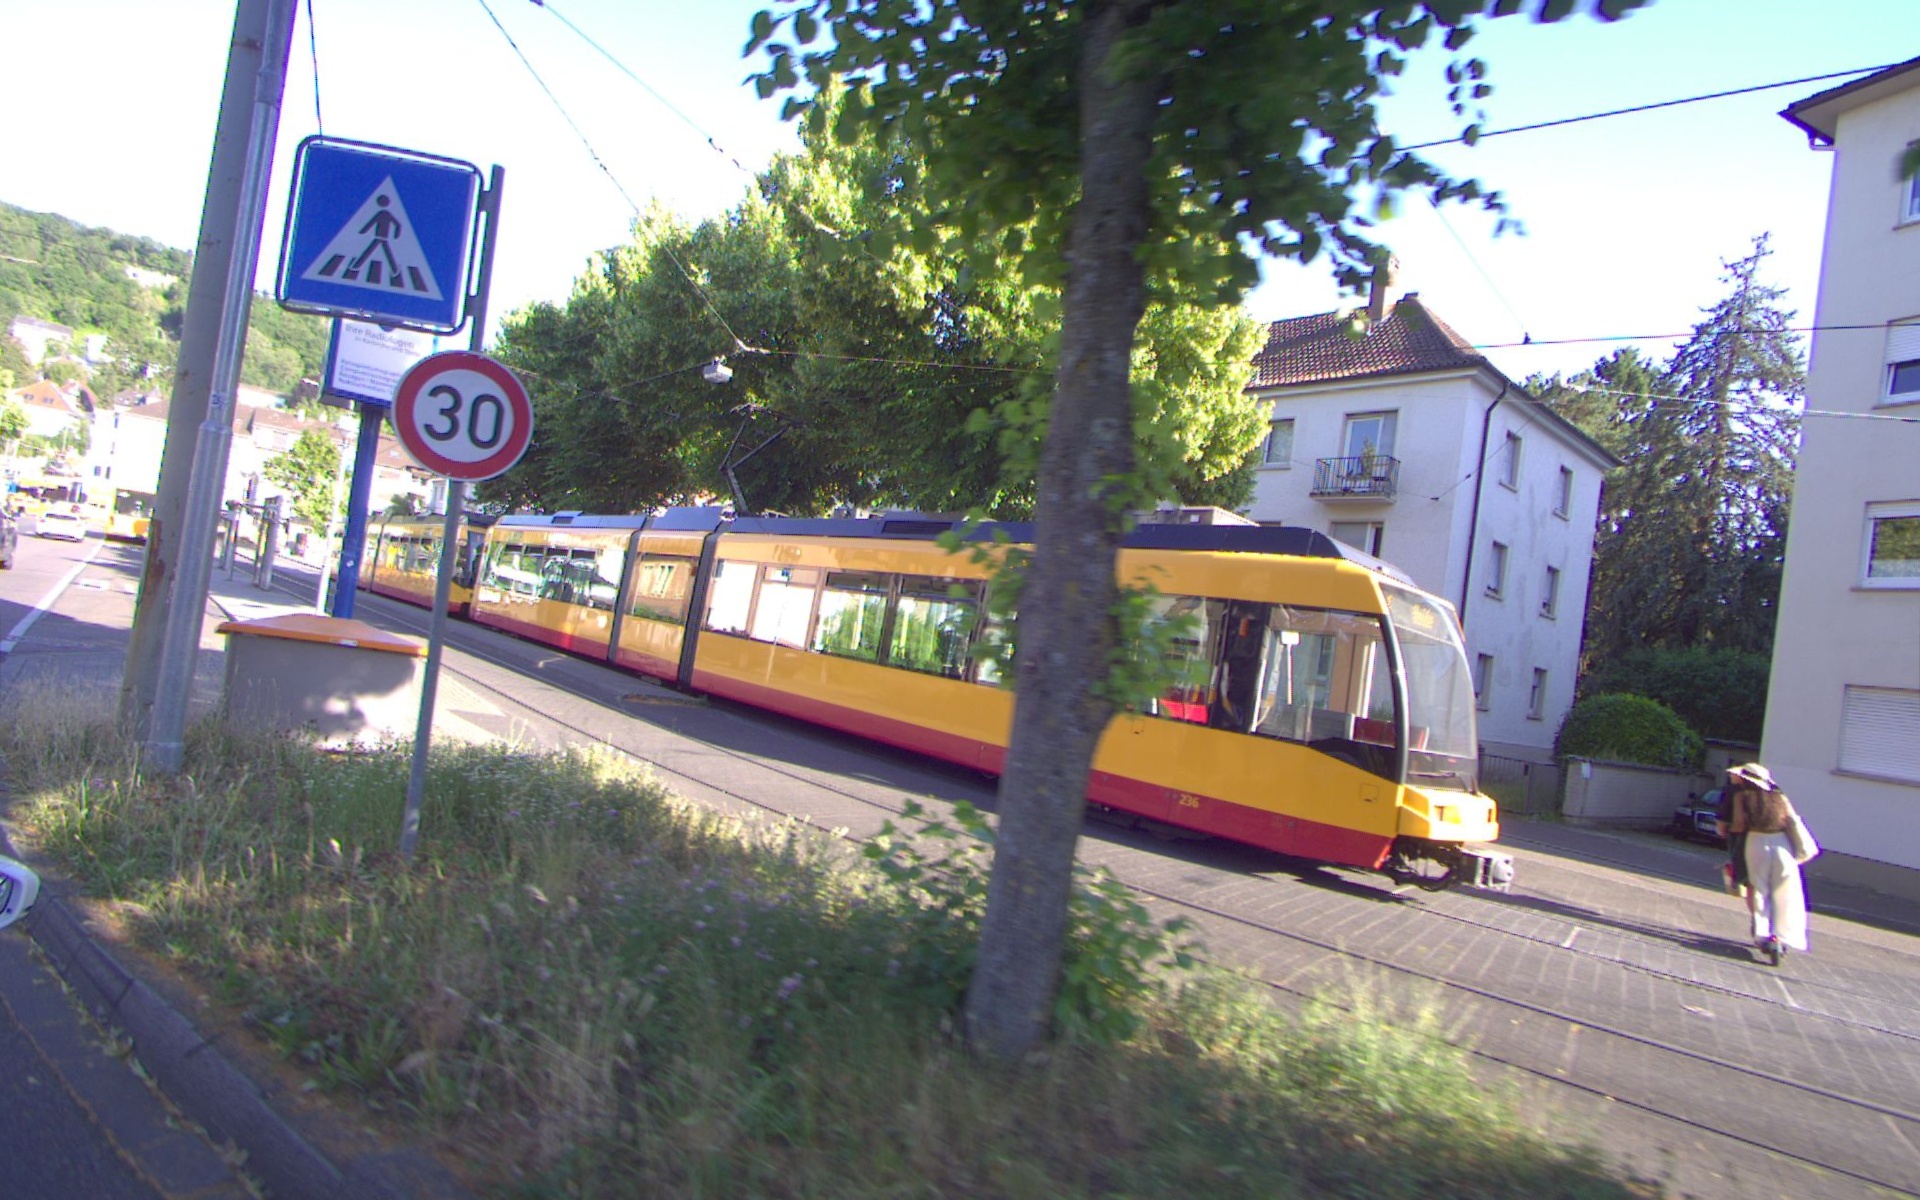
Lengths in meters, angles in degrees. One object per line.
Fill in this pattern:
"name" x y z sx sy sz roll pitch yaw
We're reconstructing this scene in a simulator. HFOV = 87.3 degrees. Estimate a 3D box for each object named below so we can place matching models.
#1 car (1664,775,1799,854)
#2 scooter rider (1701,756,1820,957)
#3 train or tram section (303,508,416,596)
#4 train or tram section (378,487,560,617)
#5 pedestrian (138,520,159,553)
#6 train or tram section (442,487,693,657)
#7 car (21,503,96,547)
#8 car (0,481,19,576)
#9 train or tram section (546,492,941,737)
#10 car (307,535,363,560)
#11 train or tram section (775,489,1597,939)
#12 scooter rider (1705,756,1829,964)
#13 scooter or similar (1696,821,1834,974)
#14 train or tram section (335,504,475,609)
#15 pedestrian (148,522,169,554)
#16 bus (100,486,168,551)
"car" 17.545 4.892 22.829 3.873 1.368 1.570 12 -4 -40
"scooter rider" 7.521 2.370 9.456 0.646 1.692 0.605 8 -1 45
"train or tram section" -29.892 -2.504 49.822 2.767 3.596 9.805 9 -2 -41
"train or tram section" -17.247 -1.768 34.811 2.768 3.596 9.804 10 -2 -41
"pedestrian" -47.475 -3.717 58.858 0.542 1.787 0.545 8 -2 -2
"train or tram section" -11.003 -0.936 27.314 2.768 3.596 9.804 10 -2 -41
"car" -45.648 -3.812 50.938 3.940 1.736 1.995 6 -3 37
"car" -21.474 -1.648 21.213 1.988 2.036 3.954 11 -3 -41
"train or tram section" -4.795 -0.006 19.795 2.768 3.596 9.804 10 -2 -41
"car" -71.602 -5.984 115.308 5.190 2.036 1.980 10 -3 -37
"train or tram section" 1.746 0.726 12.539 2.769 3.596 9.799 10 -2 -43
"scooter rider" 7.334 2.323 9.144 0.646 1.692 0.605 8 -1 45
"scooter or similar" 7.499 2.708 9.353 1.398 1.149 0.677 10 -2 -42
"train or tram section" -23.565 -1.976 42.362 2.767 3.596 9.805 9 -2 -41
"pedestrian" -46.879 -3.632 58.861 0.542 1.787 0.545 8 -2 -2
"bus" -51.574 -4.988 62.808 2.695 3.327 10.099 9 -3 -40
